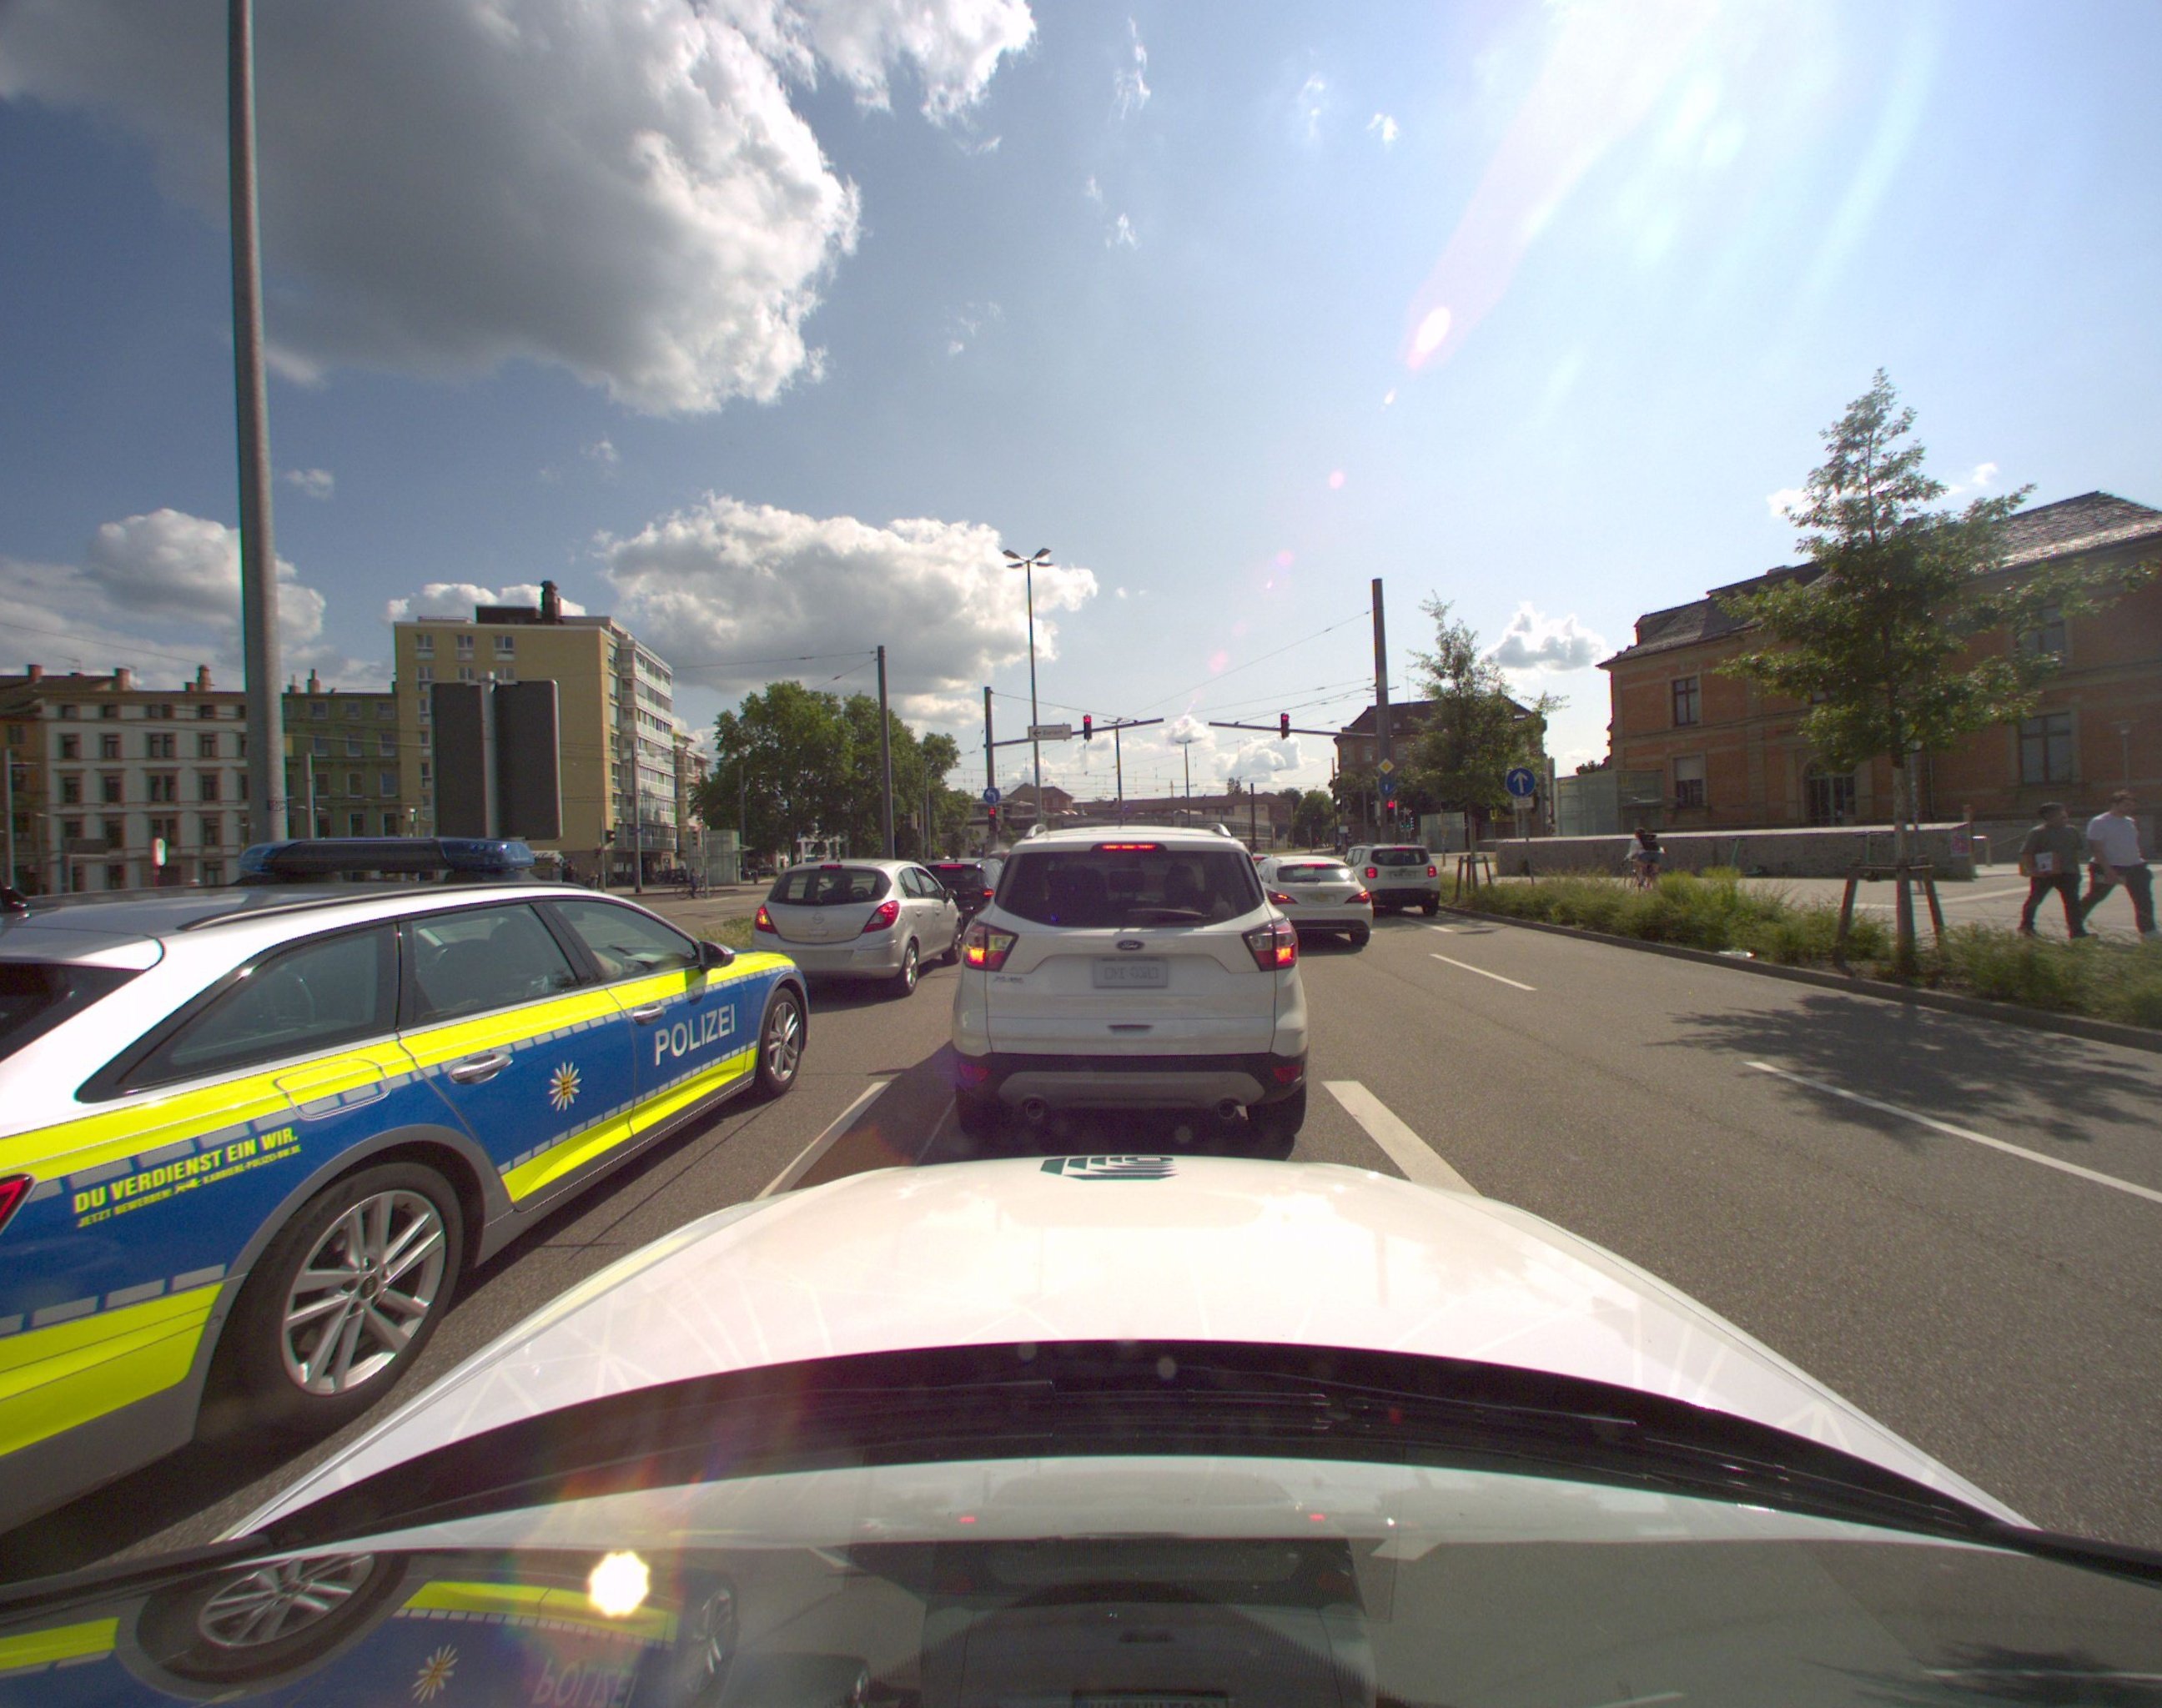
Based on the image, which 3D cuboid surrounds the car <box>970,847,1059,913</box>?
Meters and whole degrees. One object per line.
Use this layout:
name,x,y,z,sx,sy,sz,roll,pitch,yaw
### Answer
car,-1.691,0.656,22.306,2.033,1.578,4.538,-1,0,0

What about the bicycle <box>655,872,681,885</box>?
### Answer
bicycle,-38.044,2.240,75.014,1.948,1.147,0.792,-2,0,-17

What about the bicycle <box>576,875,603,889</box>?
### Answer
bicycle,-42.395,2.396,70.230,1.808,1.104,0.792,-2,0,-18

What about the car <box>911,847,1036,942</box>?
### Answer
car,-1.967,0.691,16.221,1.756,1.568,4.528,-2,0,1

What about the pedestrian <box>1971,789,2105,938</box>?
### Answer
pedestrian,11.928,0.112,10.191,0.735,1.754,0.895,-5,-1,32

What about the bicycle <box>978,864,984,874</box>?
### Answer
bicycle,-12.637,1.877,102.999,0.636,1.125,1.782,-2,0,-3

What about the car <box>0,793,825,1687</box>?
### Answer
car,-2.812,0.707,3.435,1.873,1.568,4.616,-2,0,1

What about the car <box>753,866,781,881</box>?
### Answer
car,-32.484,2.039,84.406,1.905,1.413,3.986,-3,-1,-10

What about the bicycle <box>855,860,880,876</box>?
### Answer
bicycle,-19.795,1.320,75.585,2.171,1.414,0.808,-1,0,-14

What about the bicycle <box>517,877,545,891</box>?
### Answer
bicycle,-46.806,2.511,69.326,1.808,1.104,0.792,-2,0,-18

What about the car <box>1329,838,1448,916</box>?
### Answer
car,7.320,0.523,19.794,1.826,1.652,4.009,-1,-1,8

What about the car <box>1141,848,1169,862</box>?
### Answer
car,8.536,0.066,93.688,1.882,1.461,3.991,-3,0,24

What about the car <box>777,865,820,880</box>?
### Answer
car,-30.316,1.999,87.503,3.975,1.327,1.632,-3,-1,-1

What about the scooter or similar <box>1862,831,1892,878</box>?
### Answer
scooter or similar,19.697,0.002,20.157,1.326,1.104,0.460,-4,0,-44

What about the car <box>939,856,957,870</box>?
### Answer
car,-20.296,1.447,124.342,1.989,2.014,4.227,-4,-1,-2

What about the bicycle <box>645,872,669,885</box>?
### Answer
bicycle,-38.356,2.218,73.717,1.808,1.147,0.792,-2,0,-17

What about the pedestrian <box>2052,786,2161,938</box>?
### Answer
pedestrian,12.565,0.087,9.834,0.735,1.746,0.895,-5,-1,32

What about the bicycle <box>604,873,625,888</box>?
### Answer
bicycle,-41.317,2.306,72.098,0.792,1.258,1.808,-2,0,-2

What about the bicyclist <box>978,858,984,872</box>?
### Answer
bicyclist,-12.640,1.332,102.879,0.636,1.738,0.661,-1,0,-3

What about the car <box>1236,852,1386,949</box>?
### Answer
car,3.794,0.711,14.058,1.841,1.419,3.684,-1,0,5

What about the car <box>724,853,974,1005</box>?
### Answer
car,-2.619,0.766,10.264,1.841,1.474,4.002,-2,0,2

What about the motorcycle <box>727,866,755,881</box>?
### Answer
motorcycle,-30.458,1.782,72.906,2.193,1.238,0.910,-2,1,19

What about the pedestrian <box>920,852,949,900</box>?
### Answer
pedestrian,-5.246,0.787,29.225,0.844,1.648,0.693,-3,-1,1

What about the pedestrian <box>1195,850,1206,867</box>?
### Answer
pedestrian,11.845,0.460,80.711,0.582,1.744,0.932,-1,-1,44

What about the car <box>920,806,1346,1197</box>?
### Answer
car,0.397,0.644,5.507,1.818,1.664,3.961,-1,0,5

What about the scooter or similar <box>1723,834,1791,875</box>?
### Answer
scooter or similar,19.399,0.016,23.411,0.466,1.118,1.438,-3,0,-18

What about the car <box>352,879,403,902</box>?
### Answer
car,-51.472,2.671,59.562,3.849,1.496,1.912,-3,-2,35

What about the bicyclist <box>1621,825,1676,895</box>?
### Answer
bicyclist,12.075,0.123,17.358,0.606,1.451,0.775,-2,0,2

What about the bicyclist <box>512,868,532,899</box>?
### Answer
bicyclist,-32.434,1.701,47.280,0.779,1.797,0.706,0,-1,-18

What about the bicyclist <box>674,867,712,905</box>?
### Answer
bicyclist,-18.598,1.530,39.047,1.293,1.731,0.994,-3,-1,-1

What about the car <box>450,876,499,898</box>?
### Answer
car,-45.964,2.482,61.681,3.849,1.496,1.912,-3,-2,36

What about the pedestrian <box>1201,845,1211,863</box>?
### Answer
pedestrian,12.297,-0.013,80.105,0.582,1.744,0.932,-1,-1,45

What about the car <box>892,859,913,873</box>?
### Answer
car,-27.539,1.870,125.781,1.960,1.937,5.070,-4,-1,1

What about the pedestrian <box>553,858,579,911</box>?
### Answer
pedestrian,-19.077,1.121,30.205,0.770,1.903,0.819,0,-1,-30

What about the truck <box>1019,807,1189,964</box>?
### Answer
truck,0.474,0.440,14.277,2.329,2.155,5.856,-1,0,3

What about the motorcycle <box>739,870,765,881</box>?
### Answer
motorcycle,-31.411,2.012,77.774,0.801,0.917,2.057,-2,1,39

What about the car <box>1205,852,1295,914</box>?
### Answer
car,4.223,0.685,20.855,1.841,1.419,3.684,-1,0,5

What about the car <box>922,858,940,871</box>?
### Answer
car,-22.931,1.637,124.659,1.963,1.937,4.227,-4,-1,-2

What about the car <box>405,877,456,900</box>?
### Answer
car,-48.051,2.535,60.117,3.849,1.496,1.912,-3,-2,35

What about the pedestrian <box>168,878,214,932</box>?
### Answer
pedestrian,-30.892,1.752,28.276,0.770,1.797,1.018,0,-1,-29

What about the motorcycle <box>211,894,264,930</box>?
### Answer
motorcycle,-30.645,2.105,29.603,1.436,1.236,0.484,-3,-1,3

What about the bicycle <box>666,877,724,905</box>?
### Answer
bicycle,-18.500,1.780,39.064,2.286,1.188,0.994,-3,-1,-1

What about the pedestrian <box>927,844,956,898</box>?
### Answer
pedestrian,-5.145,0.617,30.031,0.844,1.917,0.693,-3,-1,1

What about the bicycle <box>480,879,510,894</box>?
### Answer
bicycle,-49.379,2.739,68.649,1.808,1.104,0.792,-2,0,-18

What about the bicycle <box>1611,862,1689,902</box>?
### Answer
bicycle,12.086,0.578,17.353,0.582,0.775,1.623,-2,0,4
